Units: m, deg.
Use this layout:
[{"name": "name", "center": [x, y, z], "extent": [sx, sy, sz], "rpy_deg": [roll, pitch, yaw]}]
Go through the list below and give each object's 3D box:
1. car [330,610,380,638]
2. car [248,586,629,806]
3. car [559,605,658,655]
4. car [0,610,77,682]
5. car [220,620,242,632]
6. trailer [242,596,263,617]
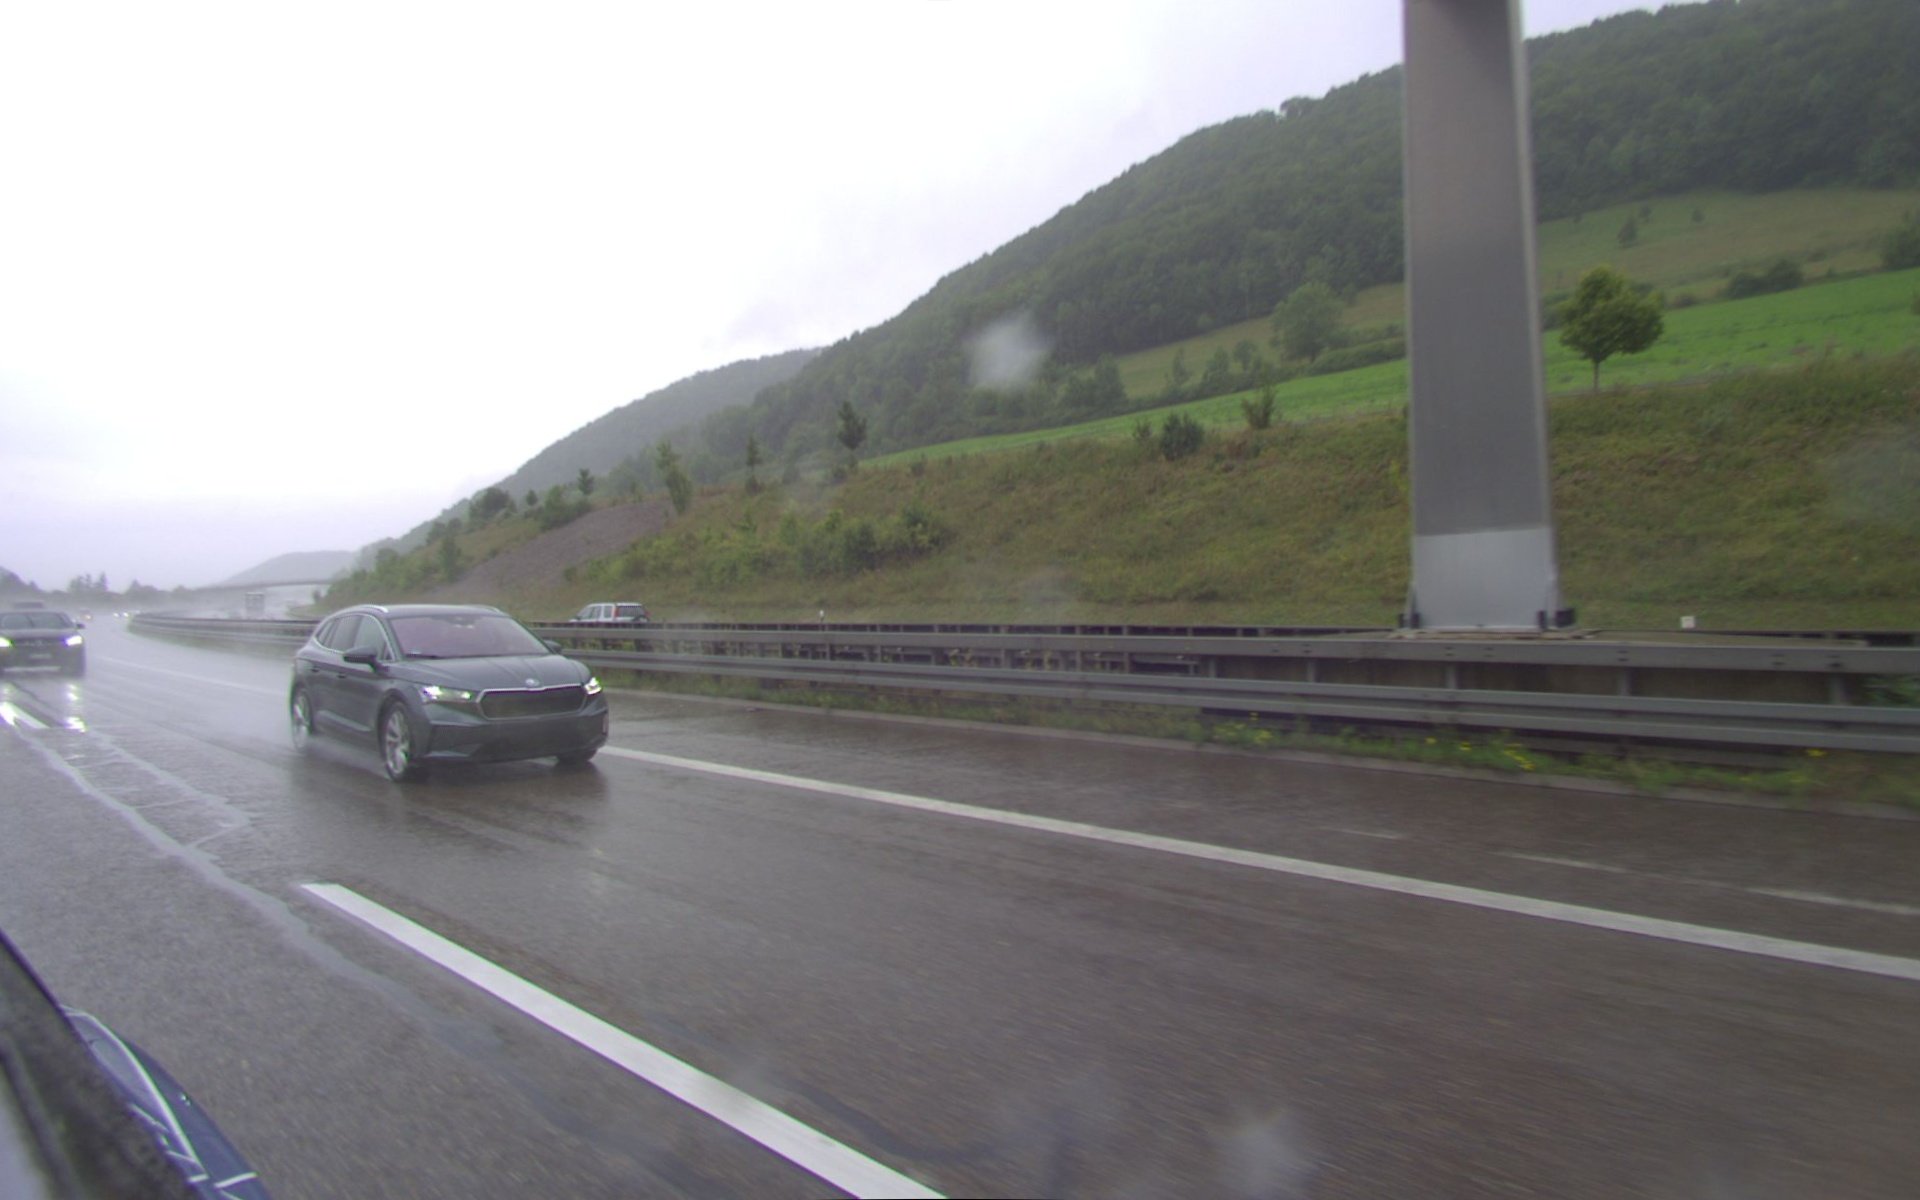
[{"name": "car", "center": [-38.051, 1.497, 63.630], "extent": [4.001, 1.660, 1.688], "rpy_deg": [-1, 0, 44]}, {"name": "car", "center": [-5.471, 0.748, 10.251], "extent": [4.911, 1.696, 1.971], "rpy_deg": [0, 0, 44]}, {"name": "car", "center": [-13.057, 1.093, 37.483], "extent": [3.999, 1.704, 1.757], "rpy_deg": [-1, 0, 42]}, {"name": "car", "center": [-24.896, 1.176, 27.027], "extent": [1.789, 1.715, 3.752], "rpy_deg": [-2, 1, -43]}, {"name": "car", "center": [-90.486, 3.174, 125.586], "extent": [1.772, 1.431, 3.780], "rpy_deg": [0, 0, -42]}, {"name": "trailer", "center": [-129.267, 1.150, 184.928], "extent": [2.776, 3.709, 13.276], "rpy_deg": [-1, 0, -36]}]
